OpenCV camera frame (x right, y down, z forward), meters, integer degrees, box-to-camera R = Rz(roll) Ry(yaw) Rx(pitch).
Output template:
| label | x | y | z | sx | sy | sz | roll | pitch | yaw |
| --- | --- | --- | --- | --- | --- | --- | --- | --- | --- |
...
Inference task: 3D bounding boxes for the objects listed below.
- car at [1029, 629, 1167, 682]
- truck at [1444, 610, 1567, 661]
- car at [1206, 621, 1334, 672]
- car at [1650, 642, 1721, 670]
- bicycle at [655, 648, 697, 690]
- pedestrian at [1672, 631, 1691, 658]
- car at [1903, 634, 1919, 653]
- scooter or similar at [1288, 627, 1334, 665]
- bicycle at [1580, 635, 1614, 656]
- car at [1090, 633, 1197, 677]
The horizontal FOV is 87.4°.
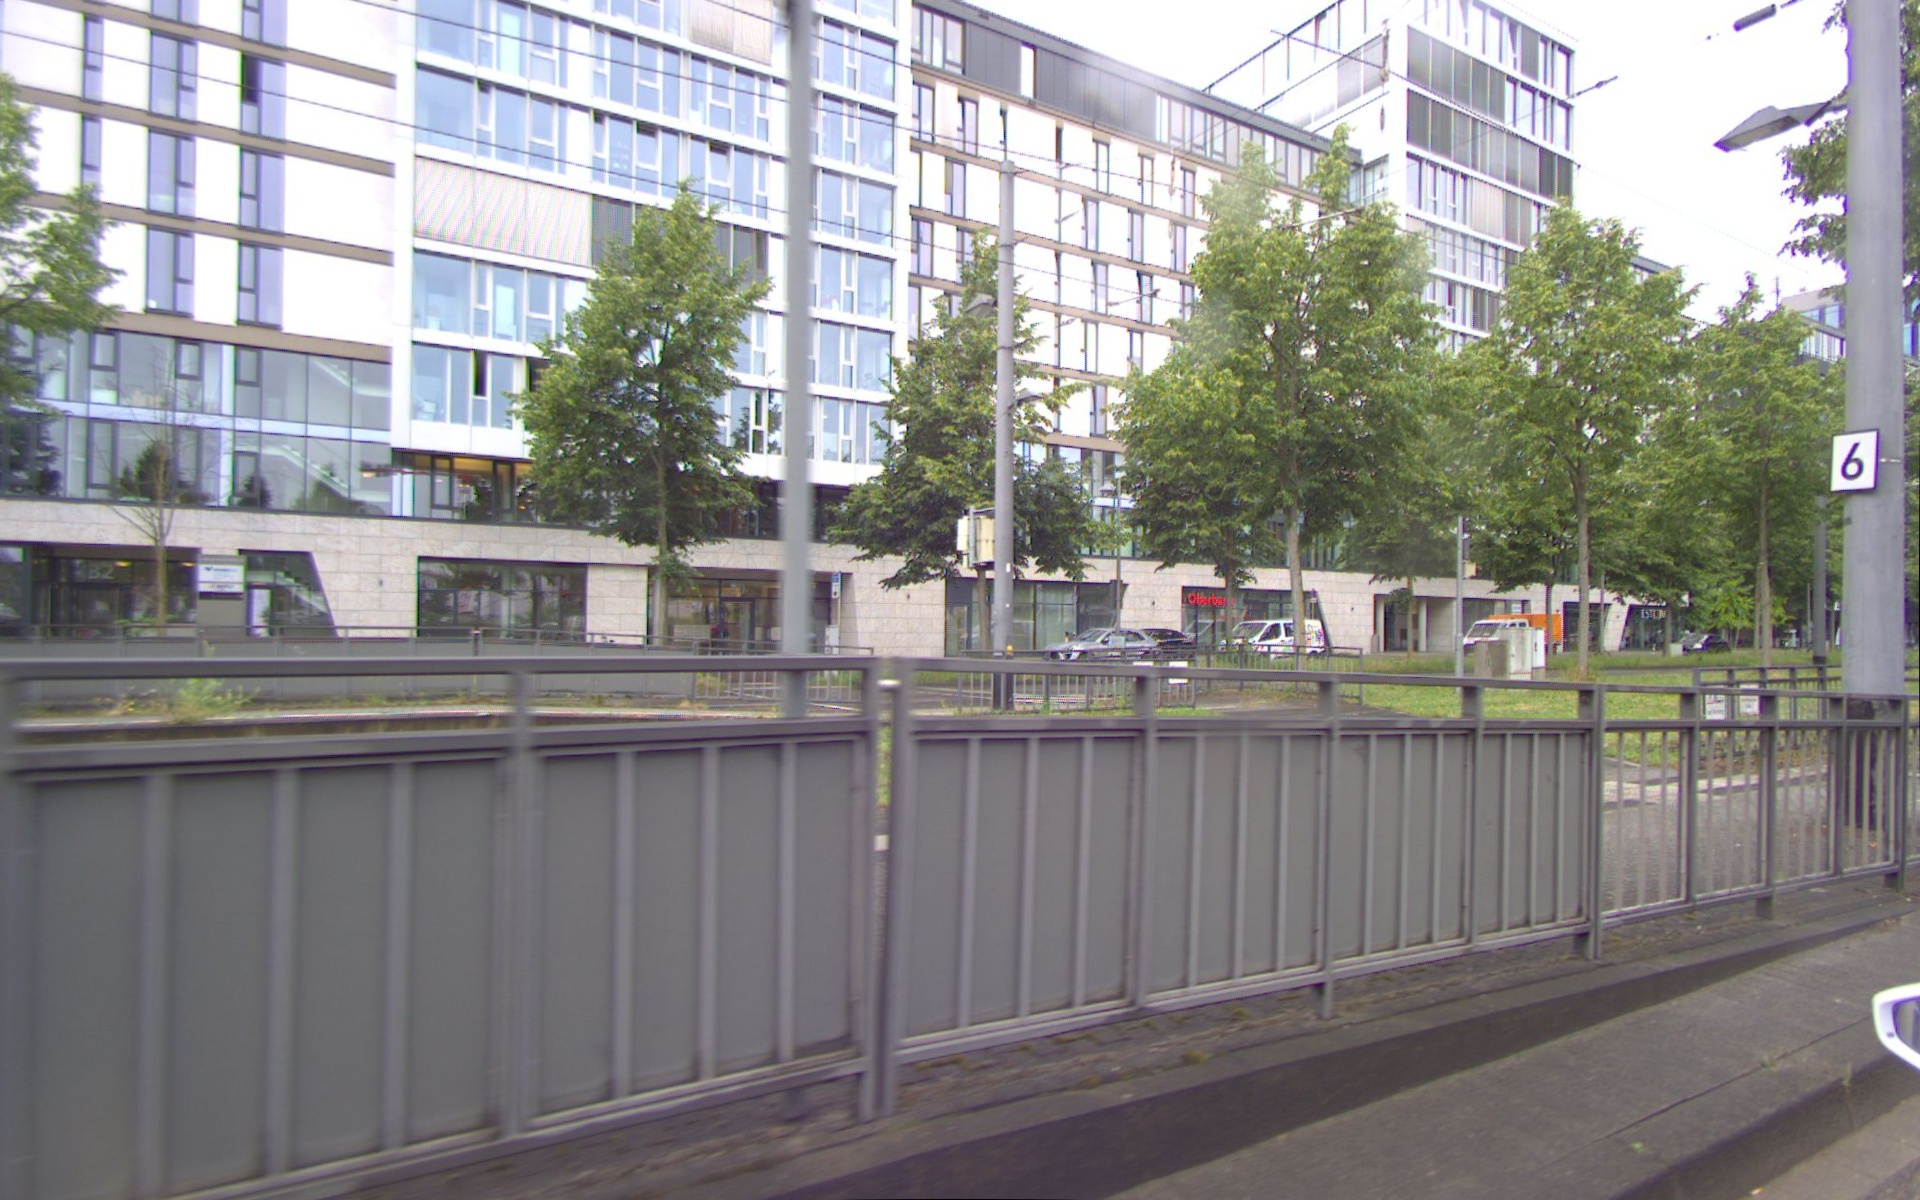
| label | x | y | z | sx | sy | sz | roll | pitch | yaw |
| --- | --- | --- | --- | --- | --- | --- | --- | --- | --- |
| car | 4.850 | 1.898 | 35.182 | 4.412 | 1.735 | 2.134 | 1 | -1 | -31 |
| truck | 26.492 | 1.714 | 48.709 | 6.235 | 2.322 | 2.415 | 1 | -1 | -30 |
| car | 12.347 | 1.816 | 39.910 | 5.104 | 1.876 | 1.984 | 1 | -1 | -31 |
| car | 40.971 | 3.156 | 56.720 | 3.942 | 1.484 | 1.846 | 1 | -1 | -31 |
| bicycle | -7.792 | 1.869 | 27.521 | 0.687 | 1.048 | 1.971 | 1 | -1 | -28 |
| pedestrian | 54.157 | 3.325 | 75.382 | 0.843 | 2.007 | 0.793 | 1 | -1 | -22 |
| car | 72.297 | 3.239 | 74.772 | 3.953 | 1.396 | 1.984 | 1 | -1 | -30 |
| scooter or similar | 17.844 | 2.341 | 51.110 | 0.876 | 1.849 | 2.112 | 1 | -1 | -33 |
| bicycle | 30.802 | 2.200 | 48.541 | 1.734 | 0.957 | 0.597 | 1 | -1 | -27 |
| car | 7.669 | 2.260 | 41.975 | 4.143 | 1.716 | 1.984 | 1 | -1 | -31 |
